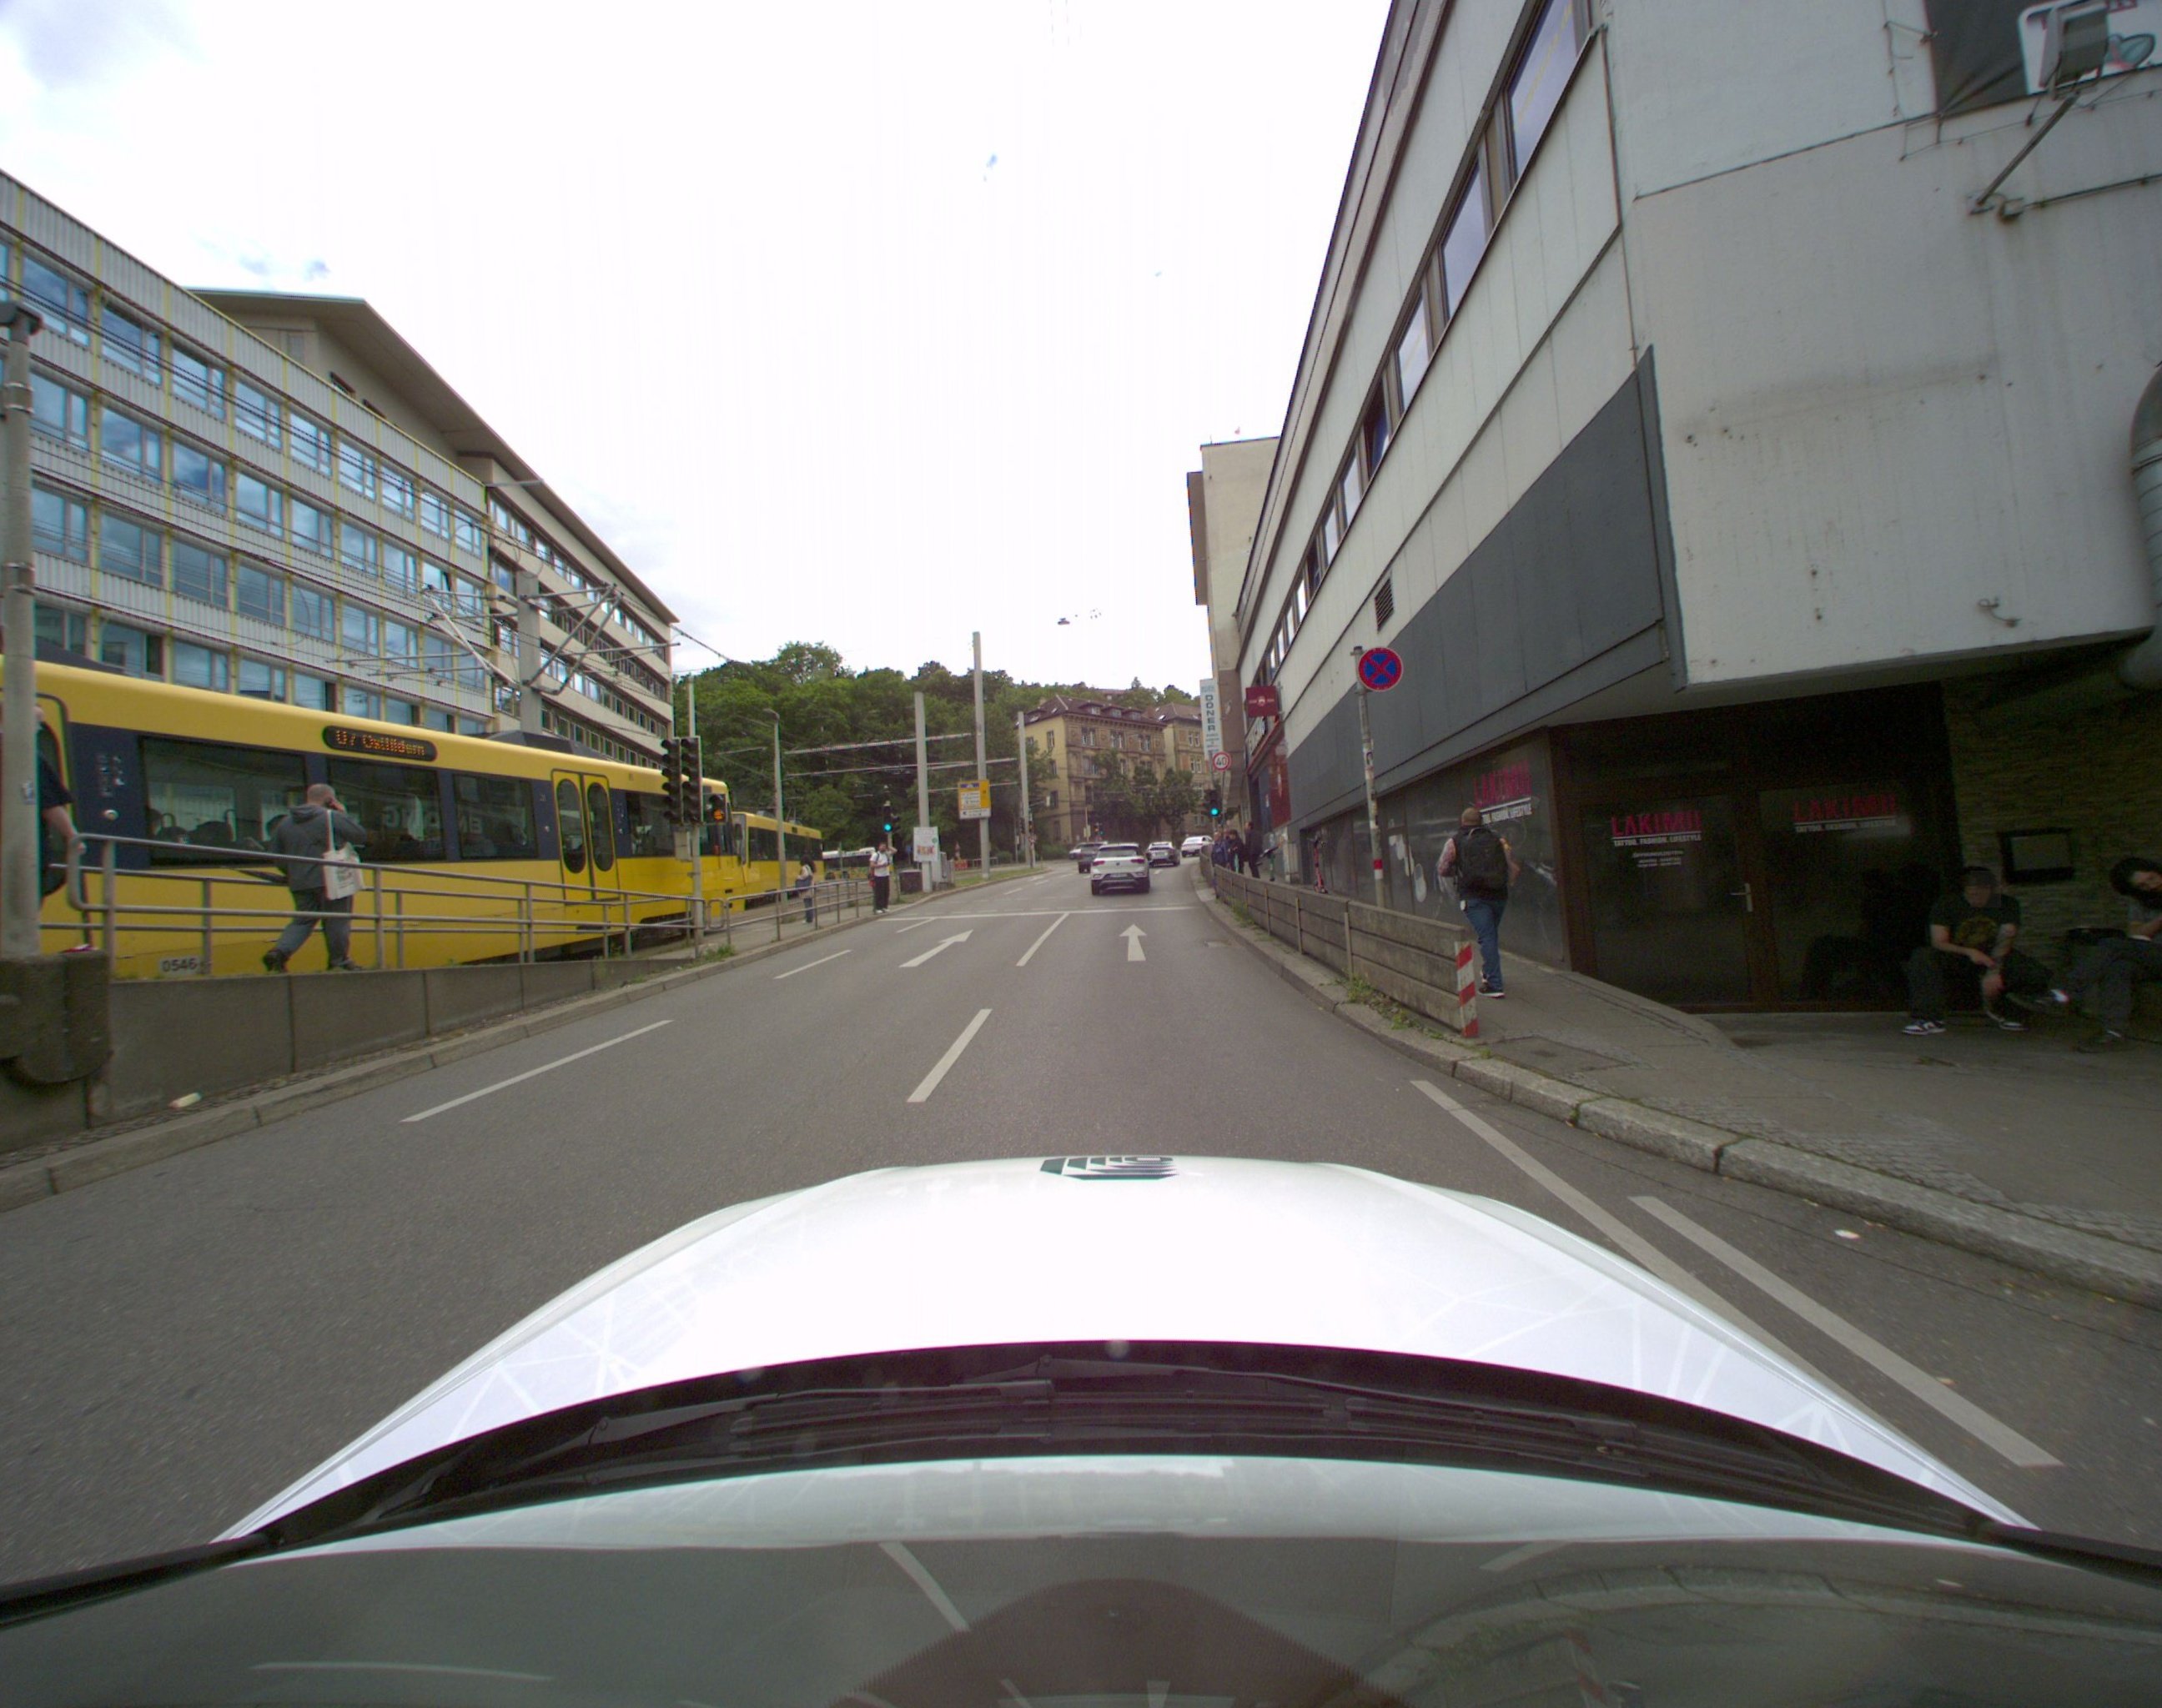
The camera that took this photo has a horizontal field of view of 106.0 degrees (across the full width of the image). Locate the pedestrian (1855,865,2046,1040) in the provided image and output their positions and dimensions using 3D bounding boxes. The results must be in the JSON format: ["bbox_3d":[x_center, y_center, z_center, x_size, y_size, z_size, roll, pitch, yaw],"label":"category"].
[{"bbox_3d":[6.685,0.728,6.313,0.728,1.236,0.721,-2,0,18],"label":"pedestrian"}]

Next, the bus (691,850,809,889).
[{"bbox_3d":[-33.660,1.564,82.773,11.238,3.043,3.339,-4,1,16],"label":"bus"}]

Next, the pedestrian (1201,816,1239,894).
[{"bbox_3d":[3.777,0.011,22.167,0.942,2.062,0.780,-2,0,6],"label":"pedestrian"}]

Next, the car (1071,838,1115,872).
[{"bbox_3d":[0.724,0.056,45.249,1.828,1.739,4.011,-2,0,9],"label":"car"}]

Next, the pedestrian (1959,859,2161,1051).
[{"bbox_3d":[6.977,0.656,5.555,1.097,1.188,0.746,-2,0,19],"label":"pedestrian"}]

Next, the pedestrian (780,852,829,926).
[{"bbox_3d":[-6.440,0.788,19.017,0.673,1.625,1.001,-4,0,1],"label":"pedestrian"}]

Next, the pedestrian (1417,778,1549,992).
[{"bbox_3d":[3.579,0.262,7.326,0.717,1.785,0.884,-2,0,3],"label":"pedestrian"}]

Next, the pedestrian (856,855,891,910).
[{"bbox_3d":[-5.828,0.804,22.856,0.571,1.464,0.679,-6,-4,21],"label":"pedestrian"}]

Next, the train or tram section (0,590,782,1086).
[{"bbox_3d":[-9.210,-0.071,13.227,2.871,3.663,14.479,-4,0,1],"label":"train or tram section"}]

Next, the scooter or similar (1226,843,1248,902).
[{"bbox_3d":[3.523,0.407,18.409,0.352,1.276,0.814,-3,0,5],"label":"scooter or similar"}]

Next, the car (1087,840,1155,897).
[{"bbox_3d":[1.333,0.412,26.177,1.929,1.566,4.051,-3,0,4],"label":"car"}]

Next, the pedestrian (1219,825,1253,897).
[{"bbox_3d":[3.944,0.178,20.788,0.734,1.793,0.656,-3,0,6],"label":"pedestrian"}]

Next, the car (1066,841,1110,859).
[{"bbox_3d":[0.808,-0.461,90.077,1.975,1.849,5.023,-4,-1,43],"label":"car"}]

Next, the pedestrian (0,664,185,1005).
[{"bbox_3d":[-6.665,-0.075,4.994,0.926,1.970,1.234,-4,-3,2],"label":"pedestrian"}]

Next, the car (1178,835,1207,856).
[{"bbox_3d":[8.636,-0.639,63.378,1.929,1.506,3.811,-3,0,4],"label":"car"}]

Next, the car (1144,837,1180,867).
[{"bbox_3d":[4.631,-0.121,46.321,1.893,1.574,3.842,-2,0,7],"label":"car"}]

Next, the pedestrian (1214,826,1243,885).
[{"bbox_3d":[4.404,0.038,24.398,0.559,1.651,0.592,-10,0,5],"label":"pedestrian"}]

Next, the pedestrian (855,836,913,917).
[{"bbox_3d":[-5.277,0.604,21.867,0.957,2.067,1.037,-6,-4,21],"label":"pedestrian"}]

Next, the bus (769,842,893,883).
[{"bbox_3d":[-24.608,0.856,80.177,11.424,3.029,3.405,-4,1,15],"label":"bus"}]

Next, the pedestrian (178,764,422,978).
[{"bbox_3d":[-6.810,0.171,7.189,1.112,1.680,1.041,-4,-5,2],"label":"pedestrian"}]

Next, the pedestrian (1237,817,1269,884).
[{"bbox_3d":[4.827,-0.102,22.895,0.723,1.808,0.655,-3,0,6],"label":"pedestrian"}]

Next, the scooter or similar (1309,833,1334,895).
[{"bbox_3d":[5.227,0.208,17.738,0.424,1.276,0.984,-4,1,16],"label":"scooter or similar"}]
